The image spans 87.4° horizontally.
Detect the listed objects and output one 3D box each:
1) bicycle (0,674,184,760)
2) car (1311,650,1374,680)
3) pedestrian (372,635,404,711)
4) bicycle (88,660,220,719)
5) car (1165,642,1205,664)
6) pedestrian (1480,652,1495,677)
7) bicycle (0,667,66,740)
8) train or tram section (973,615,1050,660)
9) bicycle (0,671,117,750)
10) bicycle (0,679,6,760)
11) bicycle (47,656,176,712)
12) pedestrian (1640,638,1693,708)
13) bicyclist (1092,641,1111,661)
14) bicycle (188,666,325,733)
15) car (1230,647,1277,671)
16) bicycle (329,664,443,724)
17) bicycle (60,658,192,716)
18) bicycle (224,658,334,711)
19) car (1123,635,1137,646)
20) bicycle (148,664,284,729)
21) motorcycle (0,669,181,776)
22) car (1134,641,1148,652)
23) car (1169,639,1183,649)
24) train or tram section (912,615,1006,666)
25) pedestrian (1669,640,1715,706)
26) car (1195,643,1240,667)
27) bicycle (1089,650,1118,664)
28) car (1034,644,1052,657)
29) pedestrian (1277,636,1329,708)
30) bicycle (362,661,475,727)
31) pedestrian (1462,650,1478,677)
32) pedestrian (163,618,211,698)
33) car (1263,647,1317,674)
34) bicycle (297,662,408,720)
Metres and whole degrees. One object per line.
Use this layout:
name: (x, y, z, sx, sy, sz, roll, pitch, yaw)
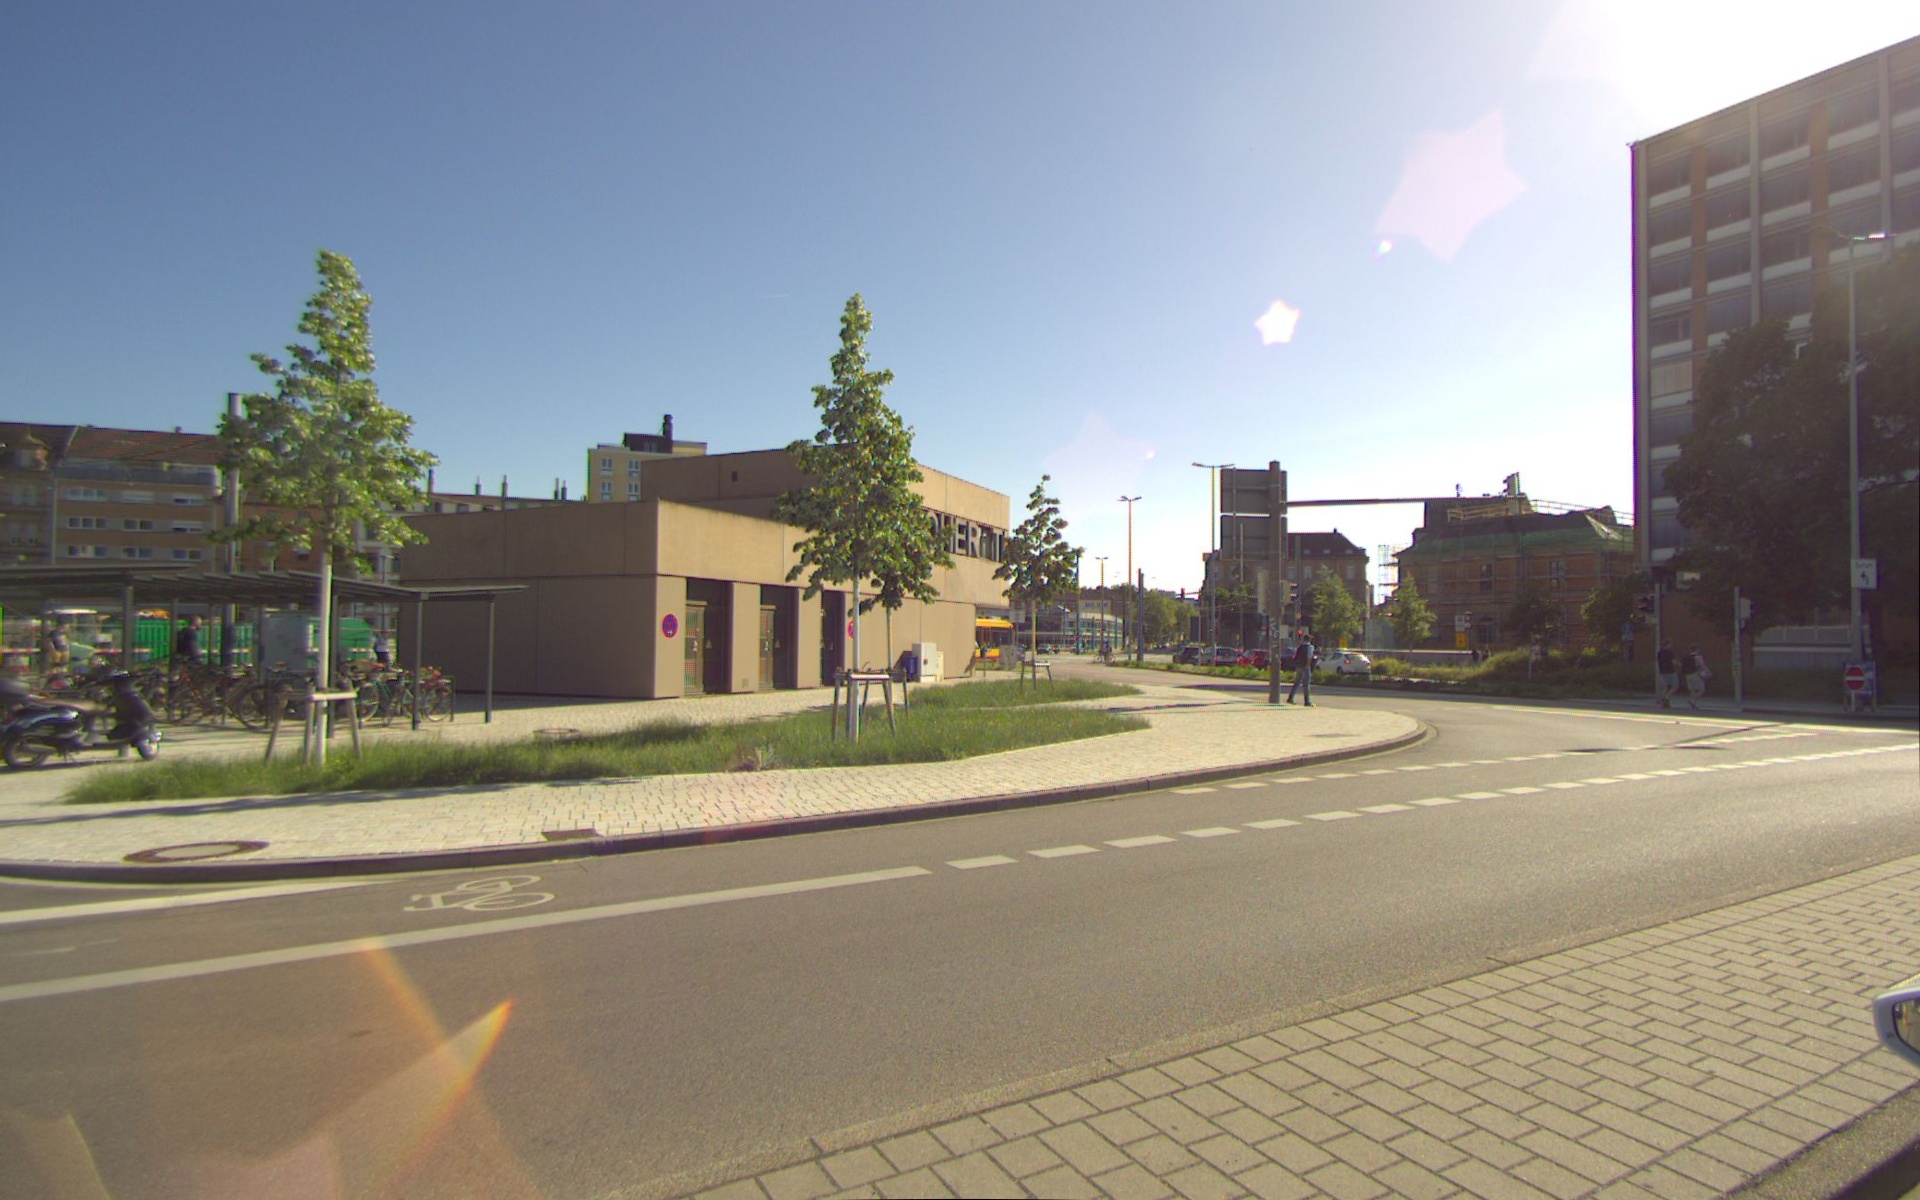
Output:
bicycle: (-11.813, 1.554, 13.718, 0.449, 1.022, 1.902, 0, -2, 26)
car: (21.251, 3.589, 55.930, 1.760, 1.528, 3.880, 1, -2, -6)
pedestrian: (-15.821, 2.015, 27.798, 0.710, 2.039, 0.682, 2, -4, -30)
bicycle: (-15.080, 1.654, 18.859, 0.449, 1.022, 1.902, 0, -2, 26)
car: (16.778, 3.924, 74.994, 1.760, 1.528, 3.880, 1, -2, -6)
pedestrian: (36.344, 4.434, 69.197, 0.752, 1.753, 0.677, 2, -2, -32)
bicycle: (-14.158, 1.507, 14.440, 0.449, 1.022, 1.902, 0, -2, 26)
train or tram section: (4.343, 2.945, 81.425, 2.649, 3.275, 10.595, 2, 0, 24)
bicycle: (-13.028, 1.535, 14.009, 0.449, 1.022, 1.902, 0, -2, 26)
bicycle: (-12.744, 1.483, 11.998, 0.449, 1.022, 1.902, 0, -2, 26)
bicycle: (-16.699, 1.636, 19.832, 0.449, 1.022, 1.902, 0, -2, 26)
pedestrian: (19.600, 2.016, 27.888, 0.895, 1.887, 0.813, 1, -2, -16)
bicyclist: (11.956, 4.291, 84.874, 1.544, 1.655, 0.811, 2, 0, 9)
bicycle: (-11.888, 1.650, 17.054, 0.449, 1.022, 1.902, 0, -2, 26)
car: (20.207, 4.027, 69.247, 1.760, 1.528, 3.880, 1, -2, -6)
bicycle: (-10.706, 1.732, 18.814, 0.449, 1.022, 1.902, 0, -2, 26)
bicycle: (-15.917, 1.642, 19.234, 0.449, 1.022, 1.902, 0, -2, 26)
bicycle: (-14.072, 1.726, 20.823, 0.449, 1.022, 1.902, 0, -2, 26)
car: (34.164, 8.138, 202.096, 1.961, 2.040, 3.998, 2, 0, 23)
bicycle: (-12.898, 1.647, 17.484, 0.449, 1.022, 1.902, 0, -2, 26)
motorcycle: (-10.919, 1.474, 12.464, 0.508, 1.166, 1.947, 0, -2, 25)
car: (34.295, 8.749, 190.509, 1.961, 2.040, 4.000, 0, -2, 20)
car: (44.454, 9.004, 206.353, 1.760, 2.040, 3.993, 0, -2, 29)
train or tram section: (0.129, 2.770, 71.753, 2.649, 3.275, 10.595, 2, 0, 24)
pedestrian: (19.681, 1.947, 27.005, 0.748, 1.753, 0.680, 1, -2, -16)
car: (17.459, 3.689, 68.267, 1.760, 1.528, 3.880, 1, -2, -6)
bicycle: (12.115, 4.787, 84.859, 2.370, 1.076, 0.811, 2, 0, 10)
car: (11.333, 6.821, 136.771, 1.709, 1.672, 4.002, 0, -2, 17)
pedestrian: (8.627, 1.797, 25.271, 1.044, 1.753, 0.652, 1, -2, -16)
bicycle: (-9.926, 1.695, 18.484, 0.449, 1.112, 1.902, 0, -2, 26)
pedestrian: (34.042, 4.239, 67.034, 0.754, 1.753, 0.675, 2, -2, -39)
pedestrian: (-18.180, 1.356, 23.629, 0.555, 1.858, 0.683, 0, -2, 27)
car: (20.577, 3.763, 62.786, 1.760, 1.528, 3.880, 1, -2, -6)
bicycle: (-11.796, 1.741, 19.571, 0.449, 1.022, 1.902, 0, -2, 26)
